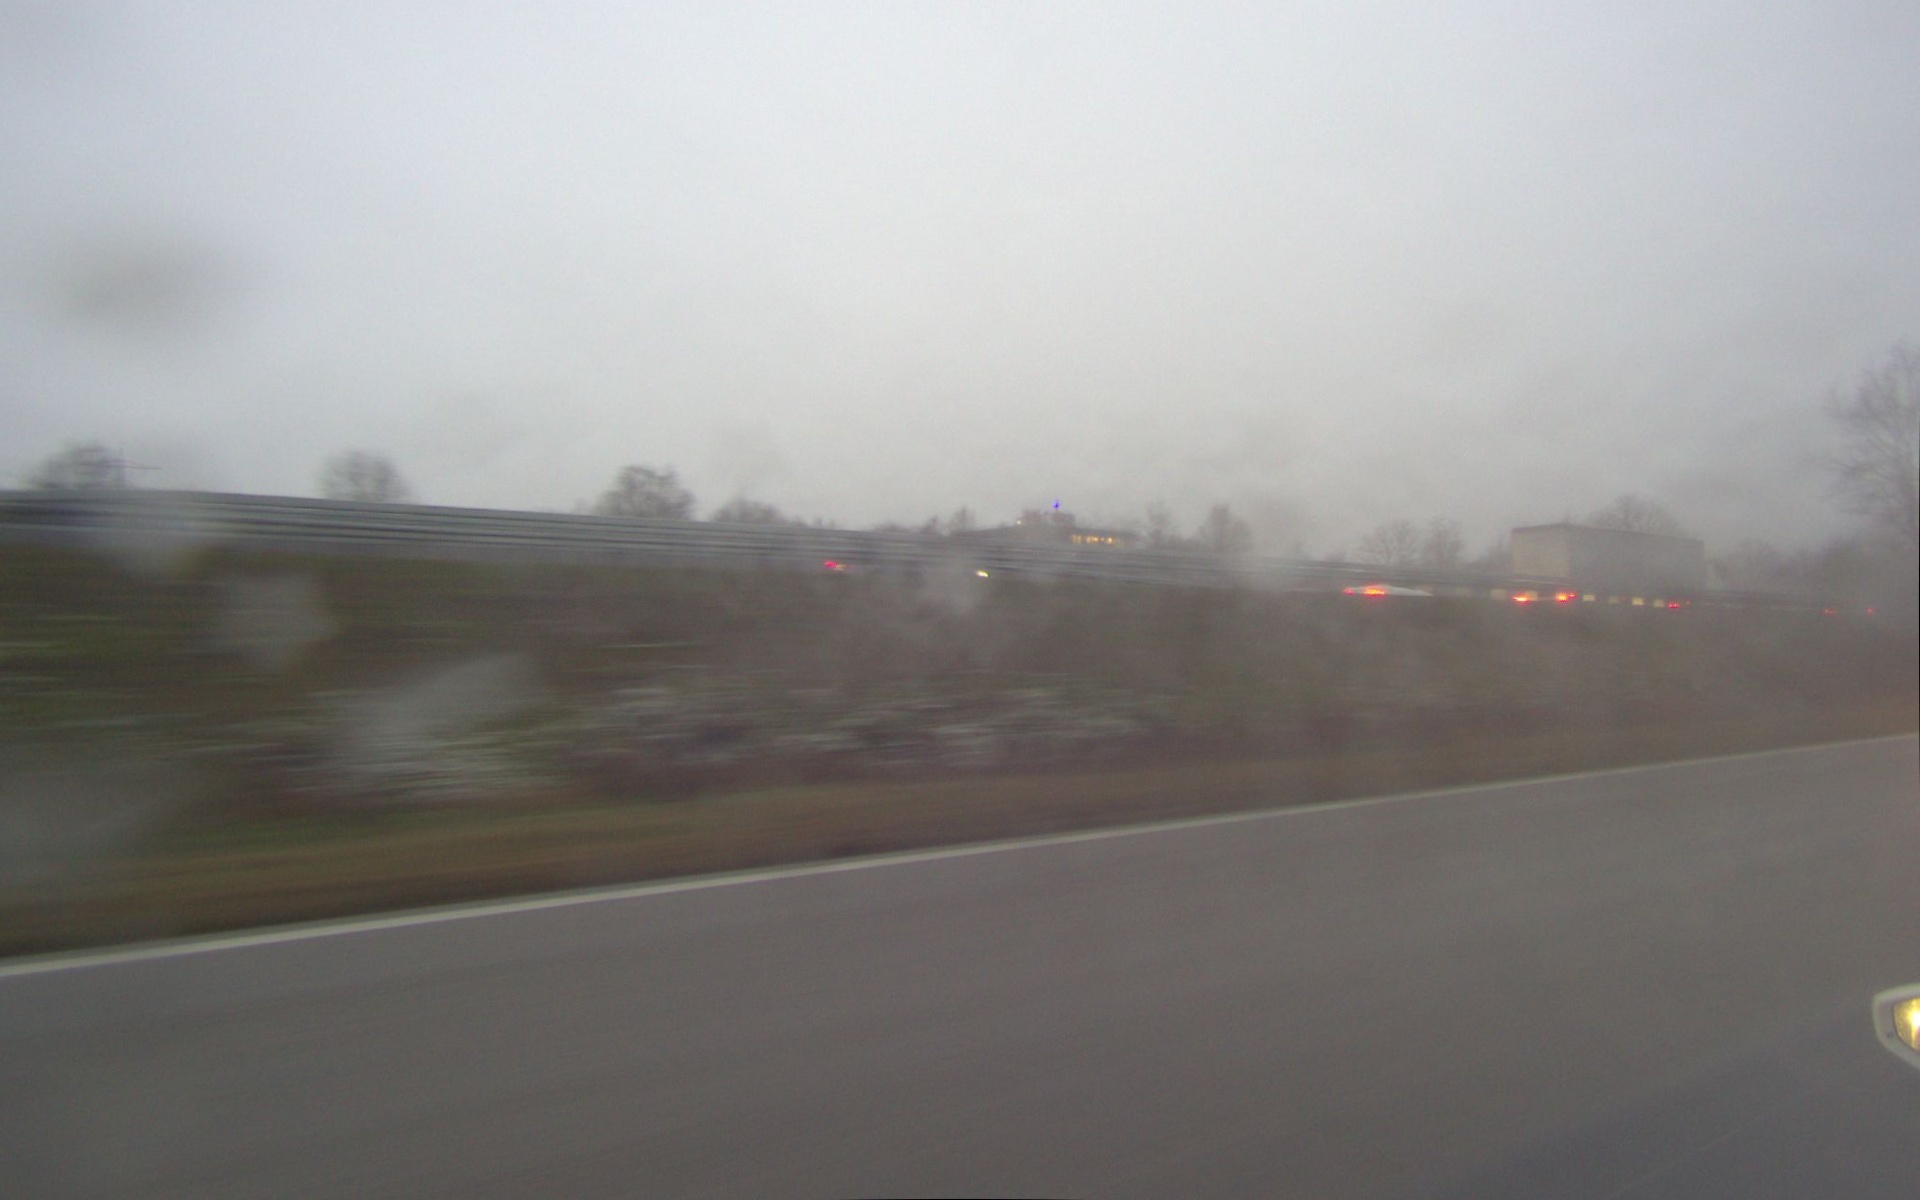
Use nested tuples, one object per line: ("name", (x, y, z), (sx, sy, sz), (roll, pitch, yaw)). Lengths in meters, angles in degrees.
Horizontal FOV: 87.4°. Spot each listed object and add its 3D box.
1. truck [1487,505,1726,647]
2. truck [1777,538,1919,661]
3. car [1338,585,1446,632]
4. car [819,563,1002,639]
("truck", (33.104, -0.914, 50.972), (15.562, 6.372, 3.744), (2, 0, -32))
("truck", (72.678, 0.379, 79.997), (39.886, 7.815, 7.468), (2, 0, -45))
("car", (20.285, 0.409, 47.079), (5.043, 2.040, 1.984), (2, 0, -30))
("car", (-1.423, 0.058, 29.587), (5.043, 2.040, 1.984), (2, 0, -30))
